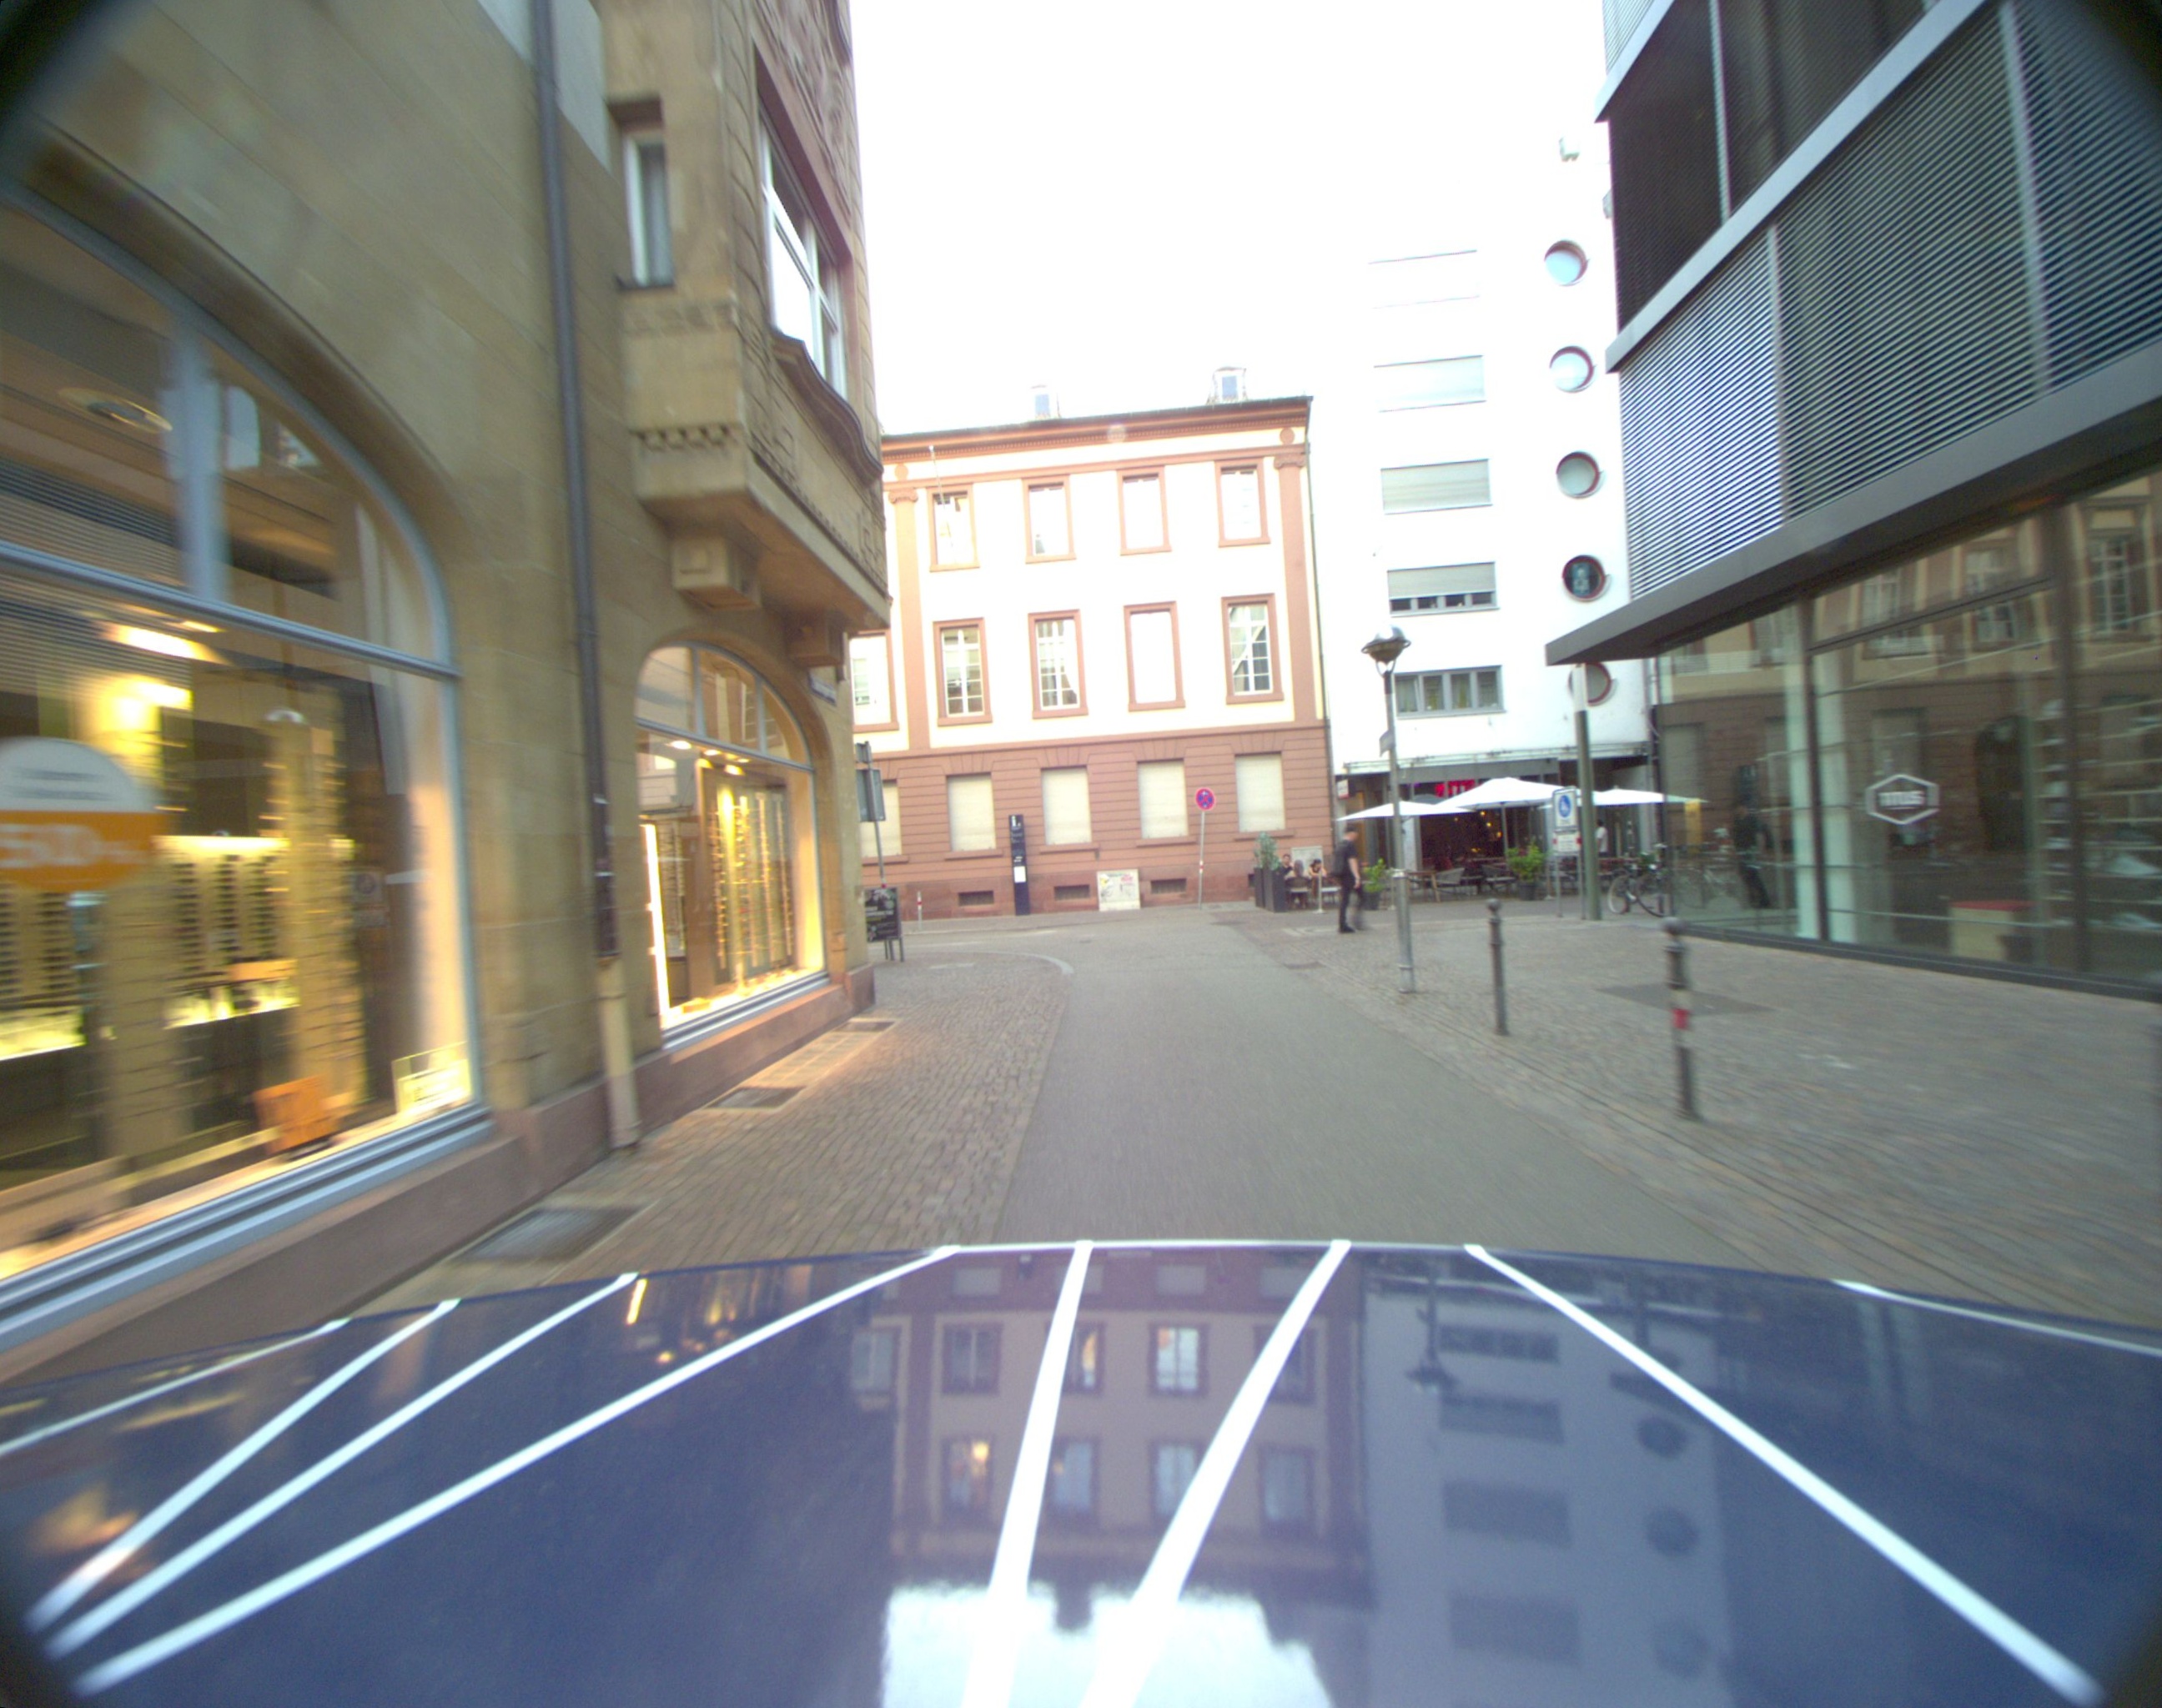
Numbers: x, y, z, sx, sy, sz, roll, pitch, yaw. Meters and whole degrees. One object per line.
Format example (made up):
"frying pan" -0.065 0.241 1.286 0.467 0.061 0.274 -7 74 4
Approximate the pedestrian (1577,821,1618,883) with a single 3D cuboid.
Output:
"pedestrian" 14.281 -0.060 21.019 0.671 1.655 0.623 -4 1 -25

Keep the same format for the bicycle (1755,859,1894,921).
"bicycle" 11.810 0.551 12.155 0.454 0.890 1.794 -4 -1 2

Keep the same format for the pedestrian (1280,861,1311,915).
"pedestrian" 5.043 0.793 17.858 0.561 1.204 0.461 -4 0 5

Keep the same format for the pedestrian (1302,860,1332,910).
"pedestrian" 5.912 0.765 19.046 0.548 1.204 0.524 -4 0 5

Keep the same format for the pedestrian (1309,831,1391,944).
"pedestrian" 4.454 0.539 12.631 0.968 1.774 0.740 -4 0 -6

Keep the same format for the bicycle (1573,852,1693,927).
"bicycle" 8.968 0.558 12.442 0.709 1.106 1.674 -4 -1 2

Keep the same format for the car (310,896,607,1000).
"car" -10.999 1.640 13.578 3.996 1.434 1.651 -4 0 5

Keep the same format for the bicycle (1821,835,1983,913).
"bicycle" 13.281 0.314 12.388 0.556 1.137 1.912 -4 -1 2

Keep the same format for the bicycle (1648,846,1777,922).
"bicycle" 10.586 0.491 12.827 0.609 1.143 1.842 -4 -1 2

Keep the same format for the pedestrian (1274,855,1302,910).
"pedestrian" 5.262 0.725 19.336 0.548 1.341 0.489 -4 0 5
